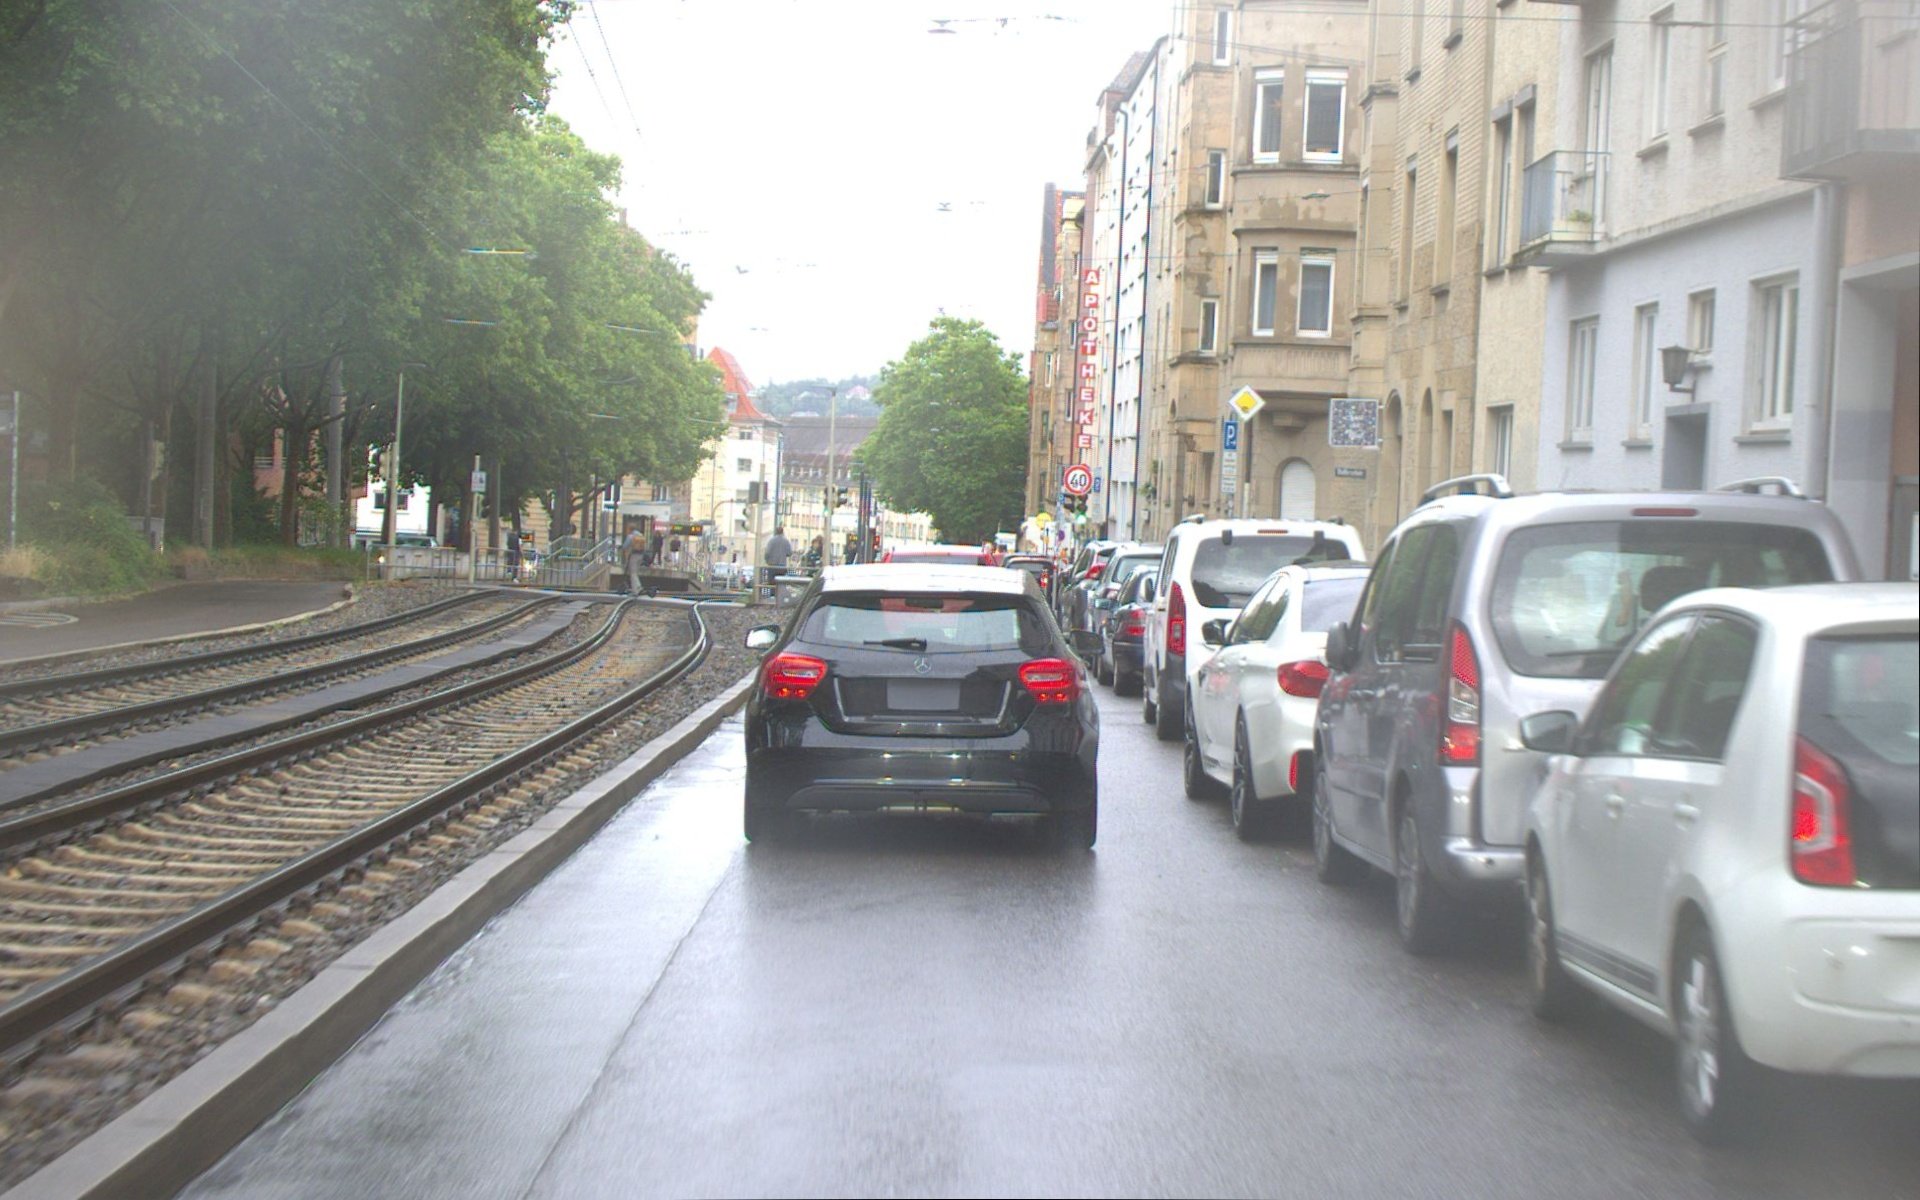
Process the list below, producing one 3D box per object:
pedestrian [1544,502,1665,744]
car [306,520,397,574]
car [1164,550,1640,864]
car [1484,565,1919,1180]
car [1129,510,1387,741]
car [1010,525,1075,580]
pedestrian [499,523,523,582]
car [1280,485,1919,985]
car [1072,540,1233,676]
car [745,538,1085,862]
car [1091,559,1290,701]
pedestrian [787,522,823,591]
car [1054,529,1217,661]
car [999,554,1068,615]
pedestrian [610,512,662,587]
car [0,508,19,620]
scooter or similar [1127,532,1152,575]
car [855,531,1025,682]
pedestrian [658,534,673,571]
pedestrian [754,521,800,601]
[{"bbox_3d":[4.958,0.163,26.510,0.746,1.827,1.039,0,1,1],"label":"pedestrian"},{"bbox_3d":[-18.082,-1.569,102.254,1.817,1.499,4.634,2,1,0],"label":"car"},{"bbox_3d":[2.320,0.492,19.338,1.871,1.450,4.903,2,1,-2],"label":"car"},{"bbox_3d":[2.626,0.657,10.138,1.570,1.457,3.600,1,1,0],"label":"car"},{"bbox_3d":[2.439,0.159,29.125,1.828,1.744,4.467,2,1,1],"label":"car"},{"bbox_3d":[2.403,-1.415,100.934,1.759,1.573,4.000,0,1,-1],"label":"car"},{"bbox_3d":[-13.715,-1.451,105.068,0.534,1.748,0.607,4,1,0],"label":"pedestrian"},{"bbox_3d":[2.484,0.445,14.381,1.790,1.759,4.212,1,1,-1],"label":"car"},{"bbox_3d":[2.315,0.065,42.170,1.693,1.524,4.000,2,1,0],"label":"car"},{"bbox_3d":[-0.244,0.449,18.241,1.580,1.499,3.575,2,1,-1],"label":"car"},{"bbox_3d":[2.426,0.280,37.163,1.717,1.342,4.462,3,1,-1],"label":"car"},{"bbox_3d":[-3.660,-1.035,81.367,0.806,1.628,0.892,0,1,0],"label":"pedestrian"},{"bbox_3d":[2.394,-0.104,47.783,1.766,1.662,4.333,3,1,-3],"label":"car"},{"bbox_3d":[2.040,-0.444,96.462,1.827,1.612,3.864,0,1,0],"label":"car"},{"bbox_3d":[-7.608,-1.195,80.811,1.054,1.713,0.904,3,1,1],"label":"pedestrian"},{"bbox_3d":[-12.987,-0.448,42.626,1.614,1.424,3.852,1,1,-1],"label":"car"},{"bbox_3d":[5.584,-1.466,107.037,0.448,1.316,1.778,0,1,-8],"label":"scooter or similar"},{"bbox_3d":[-0.229,0.035,39.157,1.785,1.575,4.000,2,1,0],"label":"car"},{"bbox_3d":[-13.640,-2.210,159.388,0.518,1.711,0.551,4,1,0],"label":"pedestrian"},{"bbox_3d":[-4.653,-1.000,87.405,1.137,1.991,1.173,0,1,-4],"label":"pedestrian"}]
